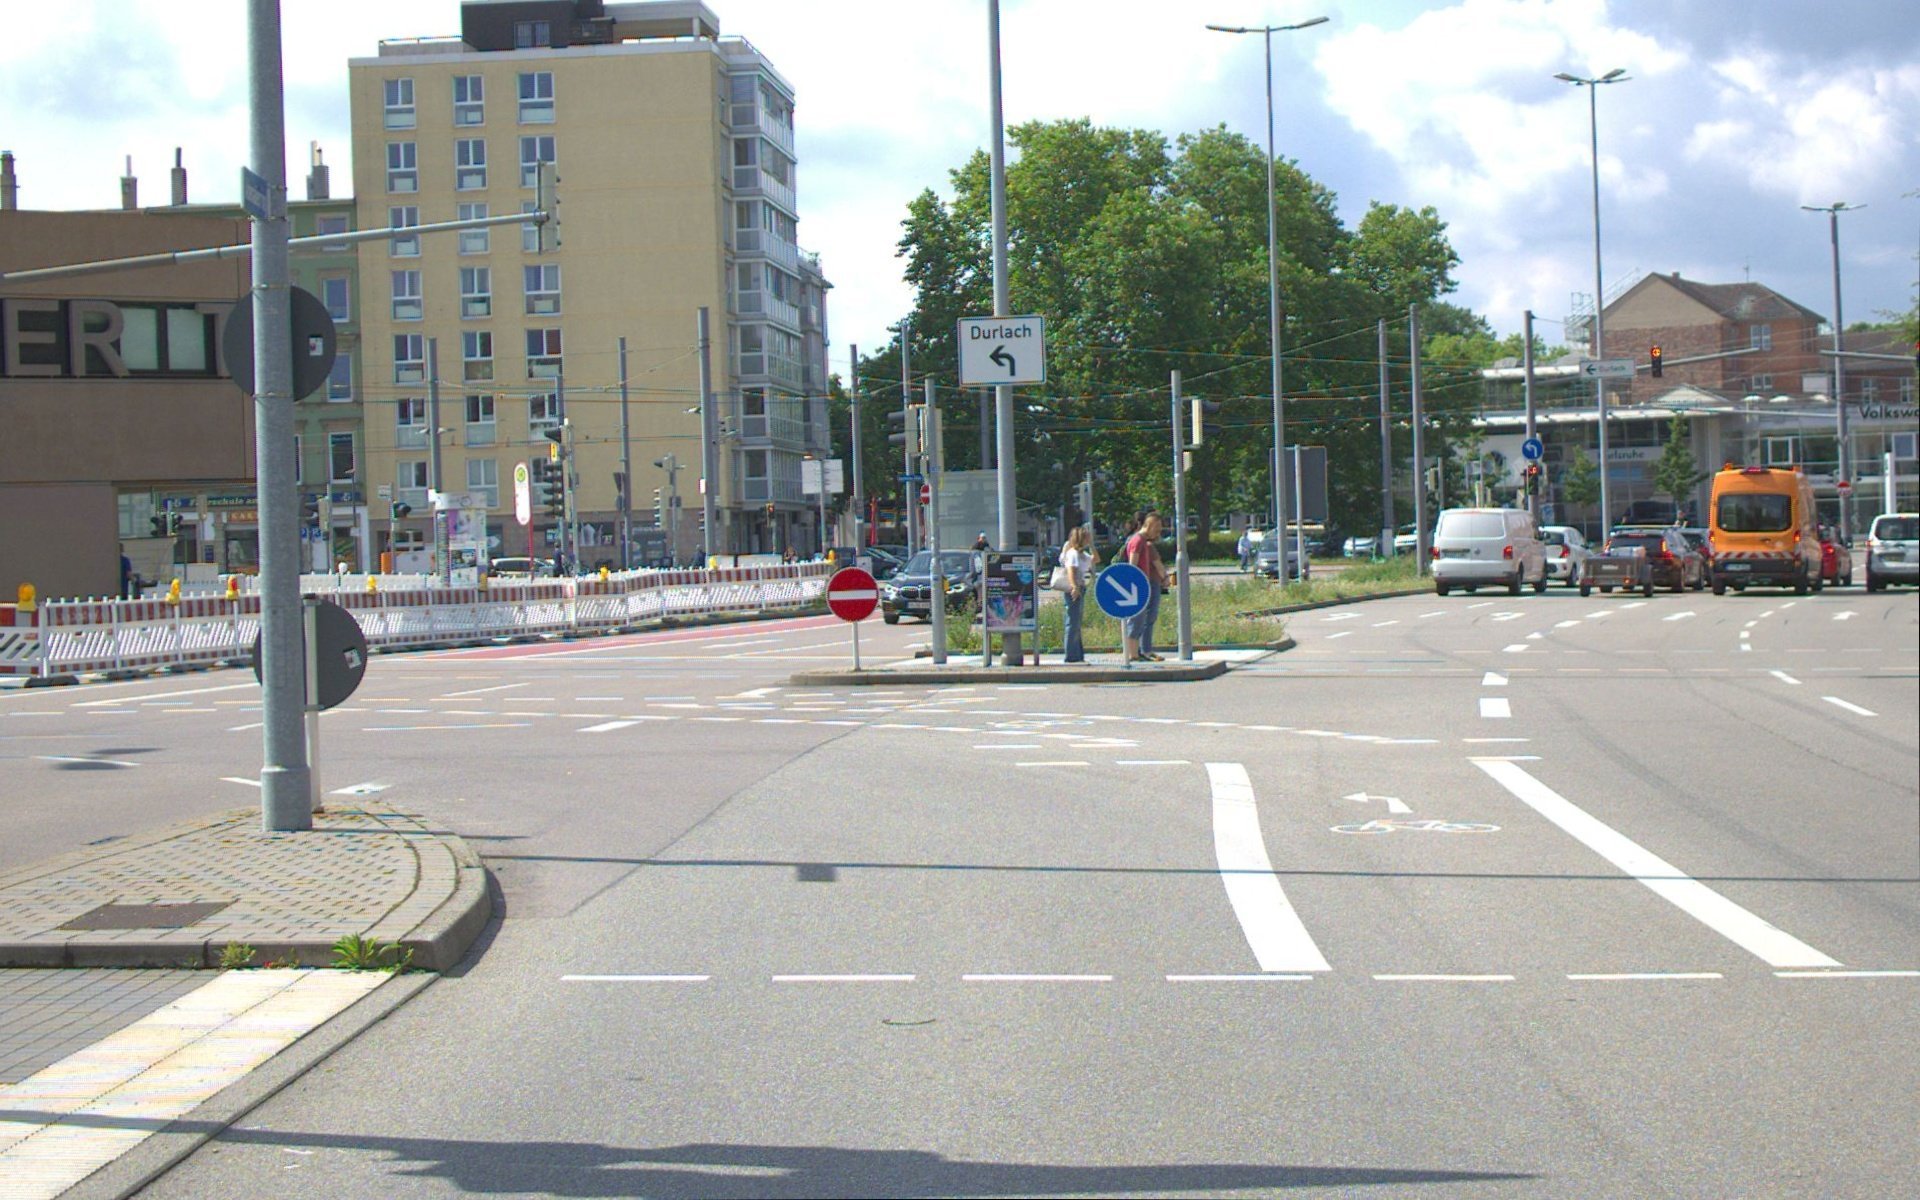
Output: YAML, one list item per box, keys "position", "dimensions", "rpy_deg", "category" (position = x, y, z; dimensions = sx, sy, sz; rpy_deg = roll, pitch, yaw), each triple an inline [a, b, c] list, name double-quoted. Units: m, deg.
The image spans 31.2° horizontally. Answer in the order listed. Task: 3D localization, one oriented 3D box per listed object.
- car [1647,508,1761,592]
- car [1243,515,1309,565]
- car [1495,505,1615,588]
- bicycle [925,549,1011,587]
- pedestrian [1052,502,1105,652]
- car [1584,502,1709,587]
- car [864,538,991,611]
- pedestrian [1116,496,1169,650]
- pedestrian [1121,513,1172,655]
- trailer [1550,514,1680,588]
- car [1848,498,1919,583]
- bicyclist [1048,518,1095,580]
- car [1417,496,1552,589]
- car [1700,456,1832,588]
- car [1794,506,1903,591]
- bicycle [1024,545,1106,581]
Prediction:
- position: [18.375, -1.264, 84.725]
  dimensions: [1.993, 1.932, 4.634]
  rpy_deg: [-2, 1, 21]
  category: "car"
- position: [9.818, -1.875, 106.759]
  dimensions: [1.662, 1.475, 4.060]
  rpy_deg: [1, 2, 10]
  category: "car"
- position: [14.769, -1.348, 85.205]
  dimensions: [1.993, 1.932, 4.634]
  rpy_deg: [-2, 1, 21]
  category: "car"
- position: [0.235, -0.955, 102.180]
  dimensions: [2.381, 1.063, 0.858]
  rpy_deg: [-1, 1, 18]
  category: "bicycle"
- position: [1.386, -0.274, 40.159]
  dimensions: [0.525, 1.727, 0.623]
  rpy_deg: [-1, 1, 7]
  category: "pedestrian"
- position: [15.725, -1.282, 78.629]
  dimensions: [1.996, 1.820, 3.996]
  rpy_deg: [-2, 1, 23]
  category: "car"
- position: [-0.613, -0.530, 68.828]
  dimensions: [1.793, 1.383, 4.225]
  rpy_deg: [-1, 1, 10]
  category: "car"
- position: [2.078, -0.312, 39.107]
  dimensions: [0.525, 1.727, 0.623]
  rpy_deg: [-1, 1, 7]
  category: "pedestrian"
- position: [2.238, -0.194, 41.231]
  dimensions: [0.525, 1.678, 0.623]
  rpy_deg: [-1, 1, 7]
  category: "pedestrian"
- position: [14.366, -1.092, 75.249]
  dimensions: [1.996, 1.472, 3.996]
  rpy_deg: [-2, 1, 23]
  category: "trailer"
- position: [21.219, -1.367, 76.896]
  dimensions: [1.996, 1.788, 3.996]
  rpy_deg: [-2, 1, 23]
  category: "car"
- position: [3.471, -1.586, 106.880]
  dimensions: [1.220, 1.903, 0.833]
  rpy_deg: [-1, 1, 18]
  category: "bicyclist"
- position: [11.914, -1.325, 77.908]
  dimensions: [2.008, 1.960, 4.634]
  rpy_deg: [-2, 1, 21]
  category: "car"
- position: [17.829, -1.733, 75.896]
  dimensions: [2.132, 2.771, 4.634]
  rpy_deg: [-2, 1, 21]
  category: "car"
- position: [21.714, -1.277, 83.884]
  dimensions: [1.993, 1.932, 4.634]
  rpy_deg: [-2, 1, 21]
  category: "car"
- position: [3.269, -1.151, 106.958]
  dimensions: [2.381, 1.063, 0.842]
  rpy_deg: [-1, 1, 18]
  category: "bicycle"
